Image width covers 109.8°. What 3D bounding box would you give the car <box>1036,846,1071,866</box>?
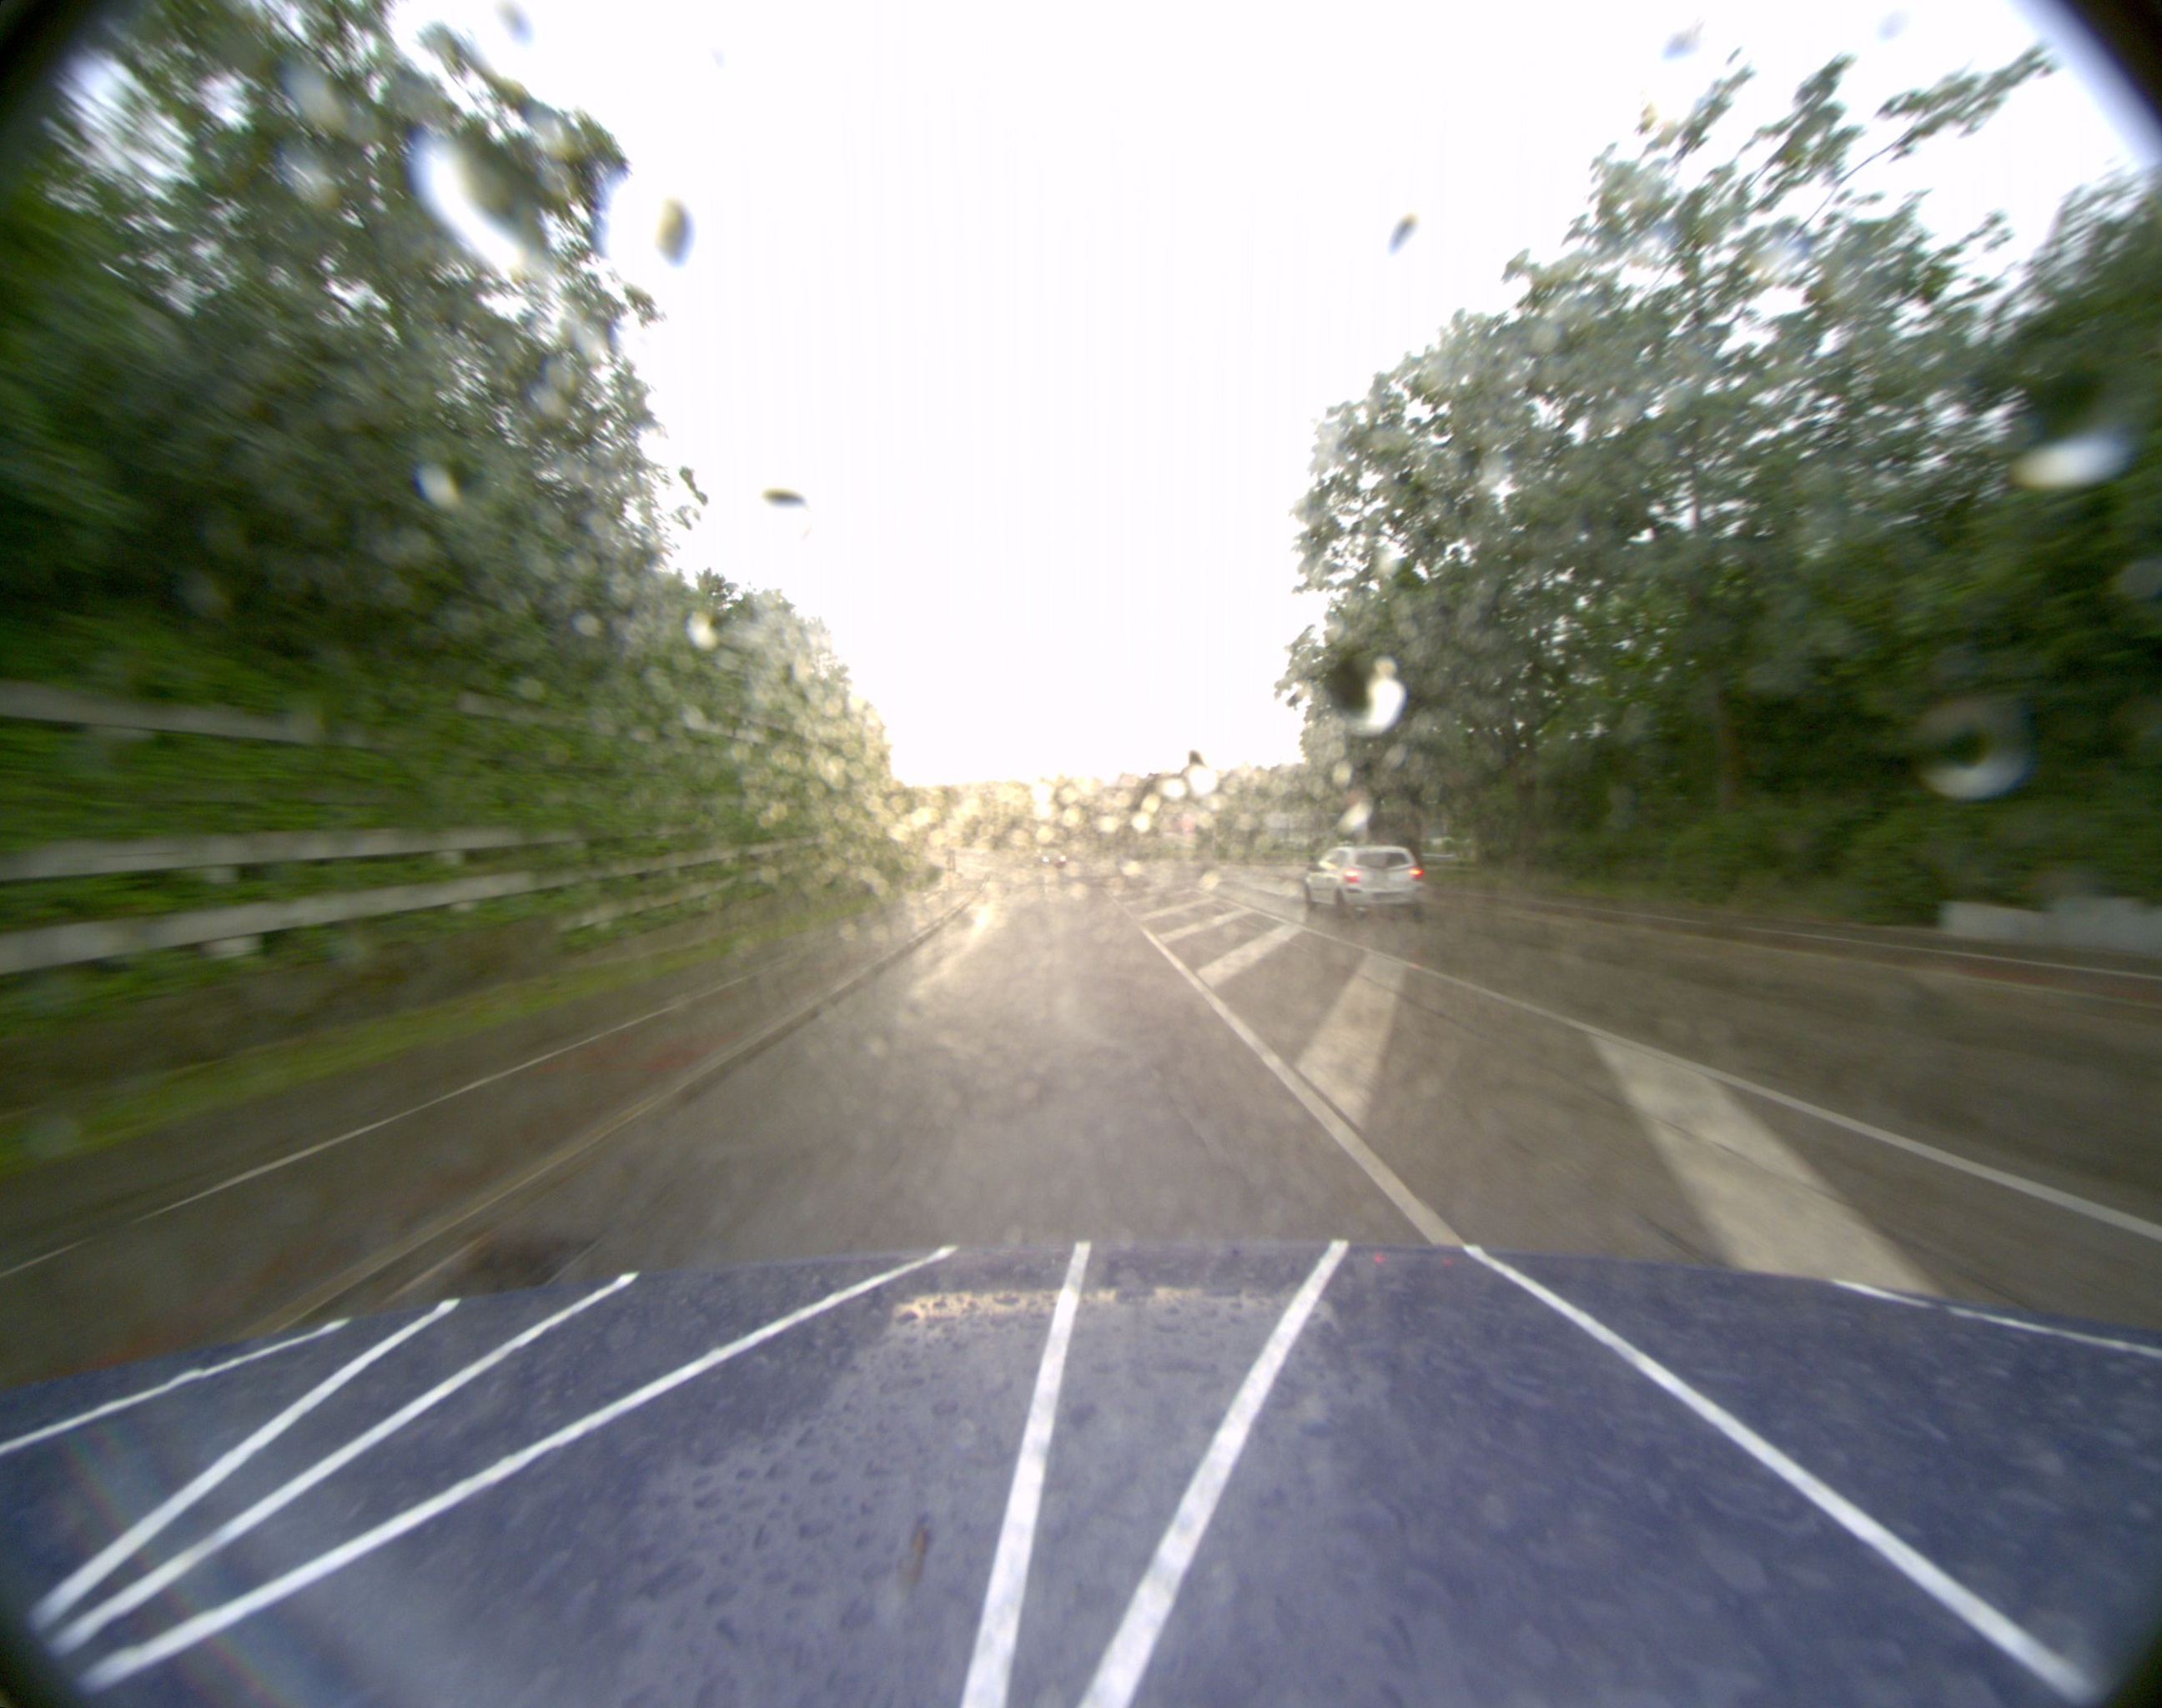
[{"bbox_3d":[-2.091,0.173,57.025,1.761,1.387,3.995,-2,1,-15],"label":"car"}]

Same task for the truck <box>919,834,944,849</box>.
[{"bbox_3d":[-21.450,-1.803,109.050,2.002,2.003,5.324,-4,4,-27],"label":"truck"}]

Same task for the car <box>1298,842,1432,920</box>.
[{"bbox_3d":[5.968,0.507,16.411,1.516,1.440,3.816,-2,0,1],"label":"car"}]
